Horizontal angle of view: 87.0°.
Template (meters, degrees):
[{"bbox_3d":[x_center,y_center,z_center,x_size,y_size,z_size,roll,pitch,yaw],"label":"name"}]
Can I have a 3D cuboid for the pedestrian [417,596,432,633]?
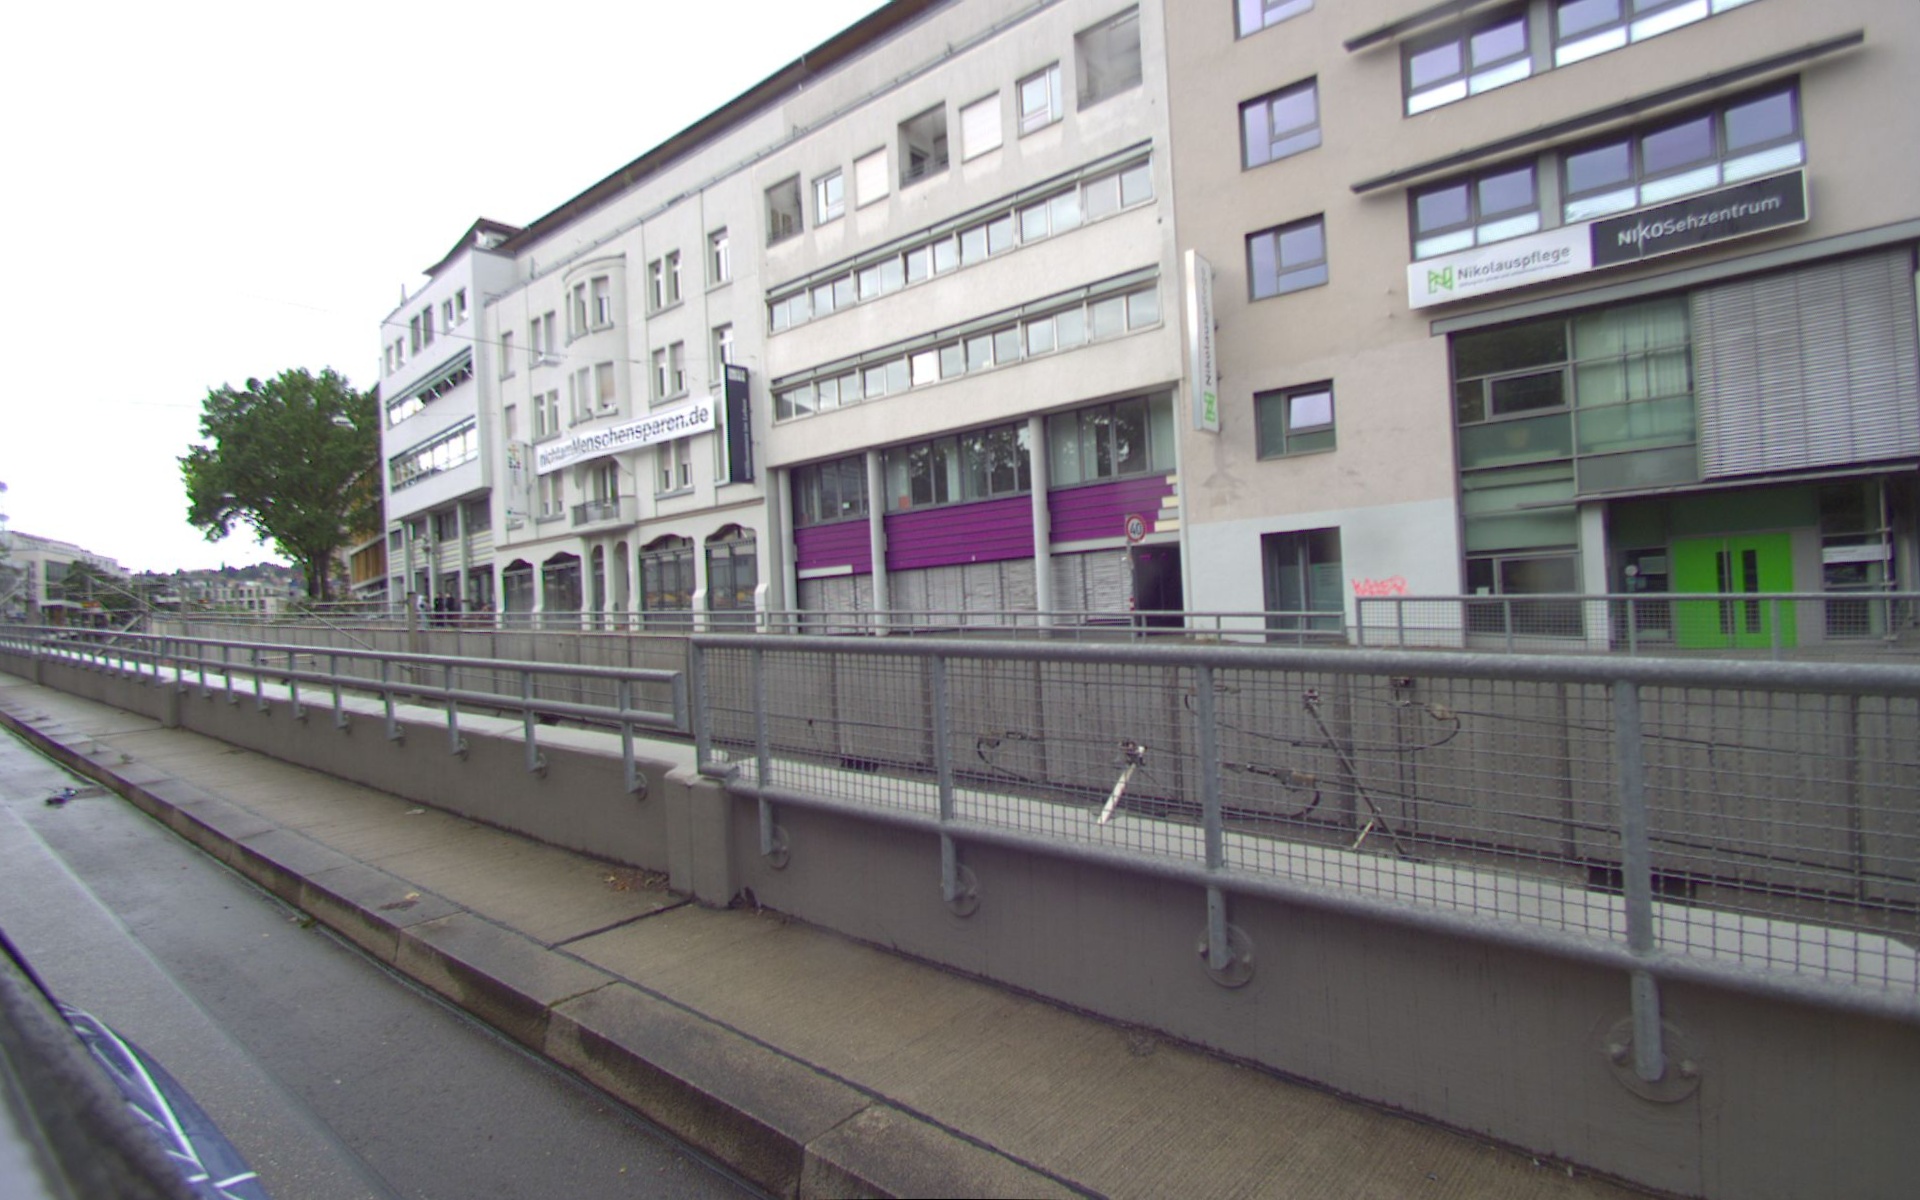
[{"bbox_3d":[-26.718,0.706,50.519,0.463,1.816,0.548,-3,1,-42],"label":"pedestrian"}]

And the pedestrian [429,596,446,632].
[{"bbox_3d":[-26.429,0.709,51.218,0.469,1.816,0.541,-2,1,33],"label":"pedestrian"}]

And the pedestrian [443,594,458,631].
[{"bbox_3d":[-25.414,0.610,50.470,0.547,1.816,0.463,-2,1,44],"label":"pedestrian"}]
